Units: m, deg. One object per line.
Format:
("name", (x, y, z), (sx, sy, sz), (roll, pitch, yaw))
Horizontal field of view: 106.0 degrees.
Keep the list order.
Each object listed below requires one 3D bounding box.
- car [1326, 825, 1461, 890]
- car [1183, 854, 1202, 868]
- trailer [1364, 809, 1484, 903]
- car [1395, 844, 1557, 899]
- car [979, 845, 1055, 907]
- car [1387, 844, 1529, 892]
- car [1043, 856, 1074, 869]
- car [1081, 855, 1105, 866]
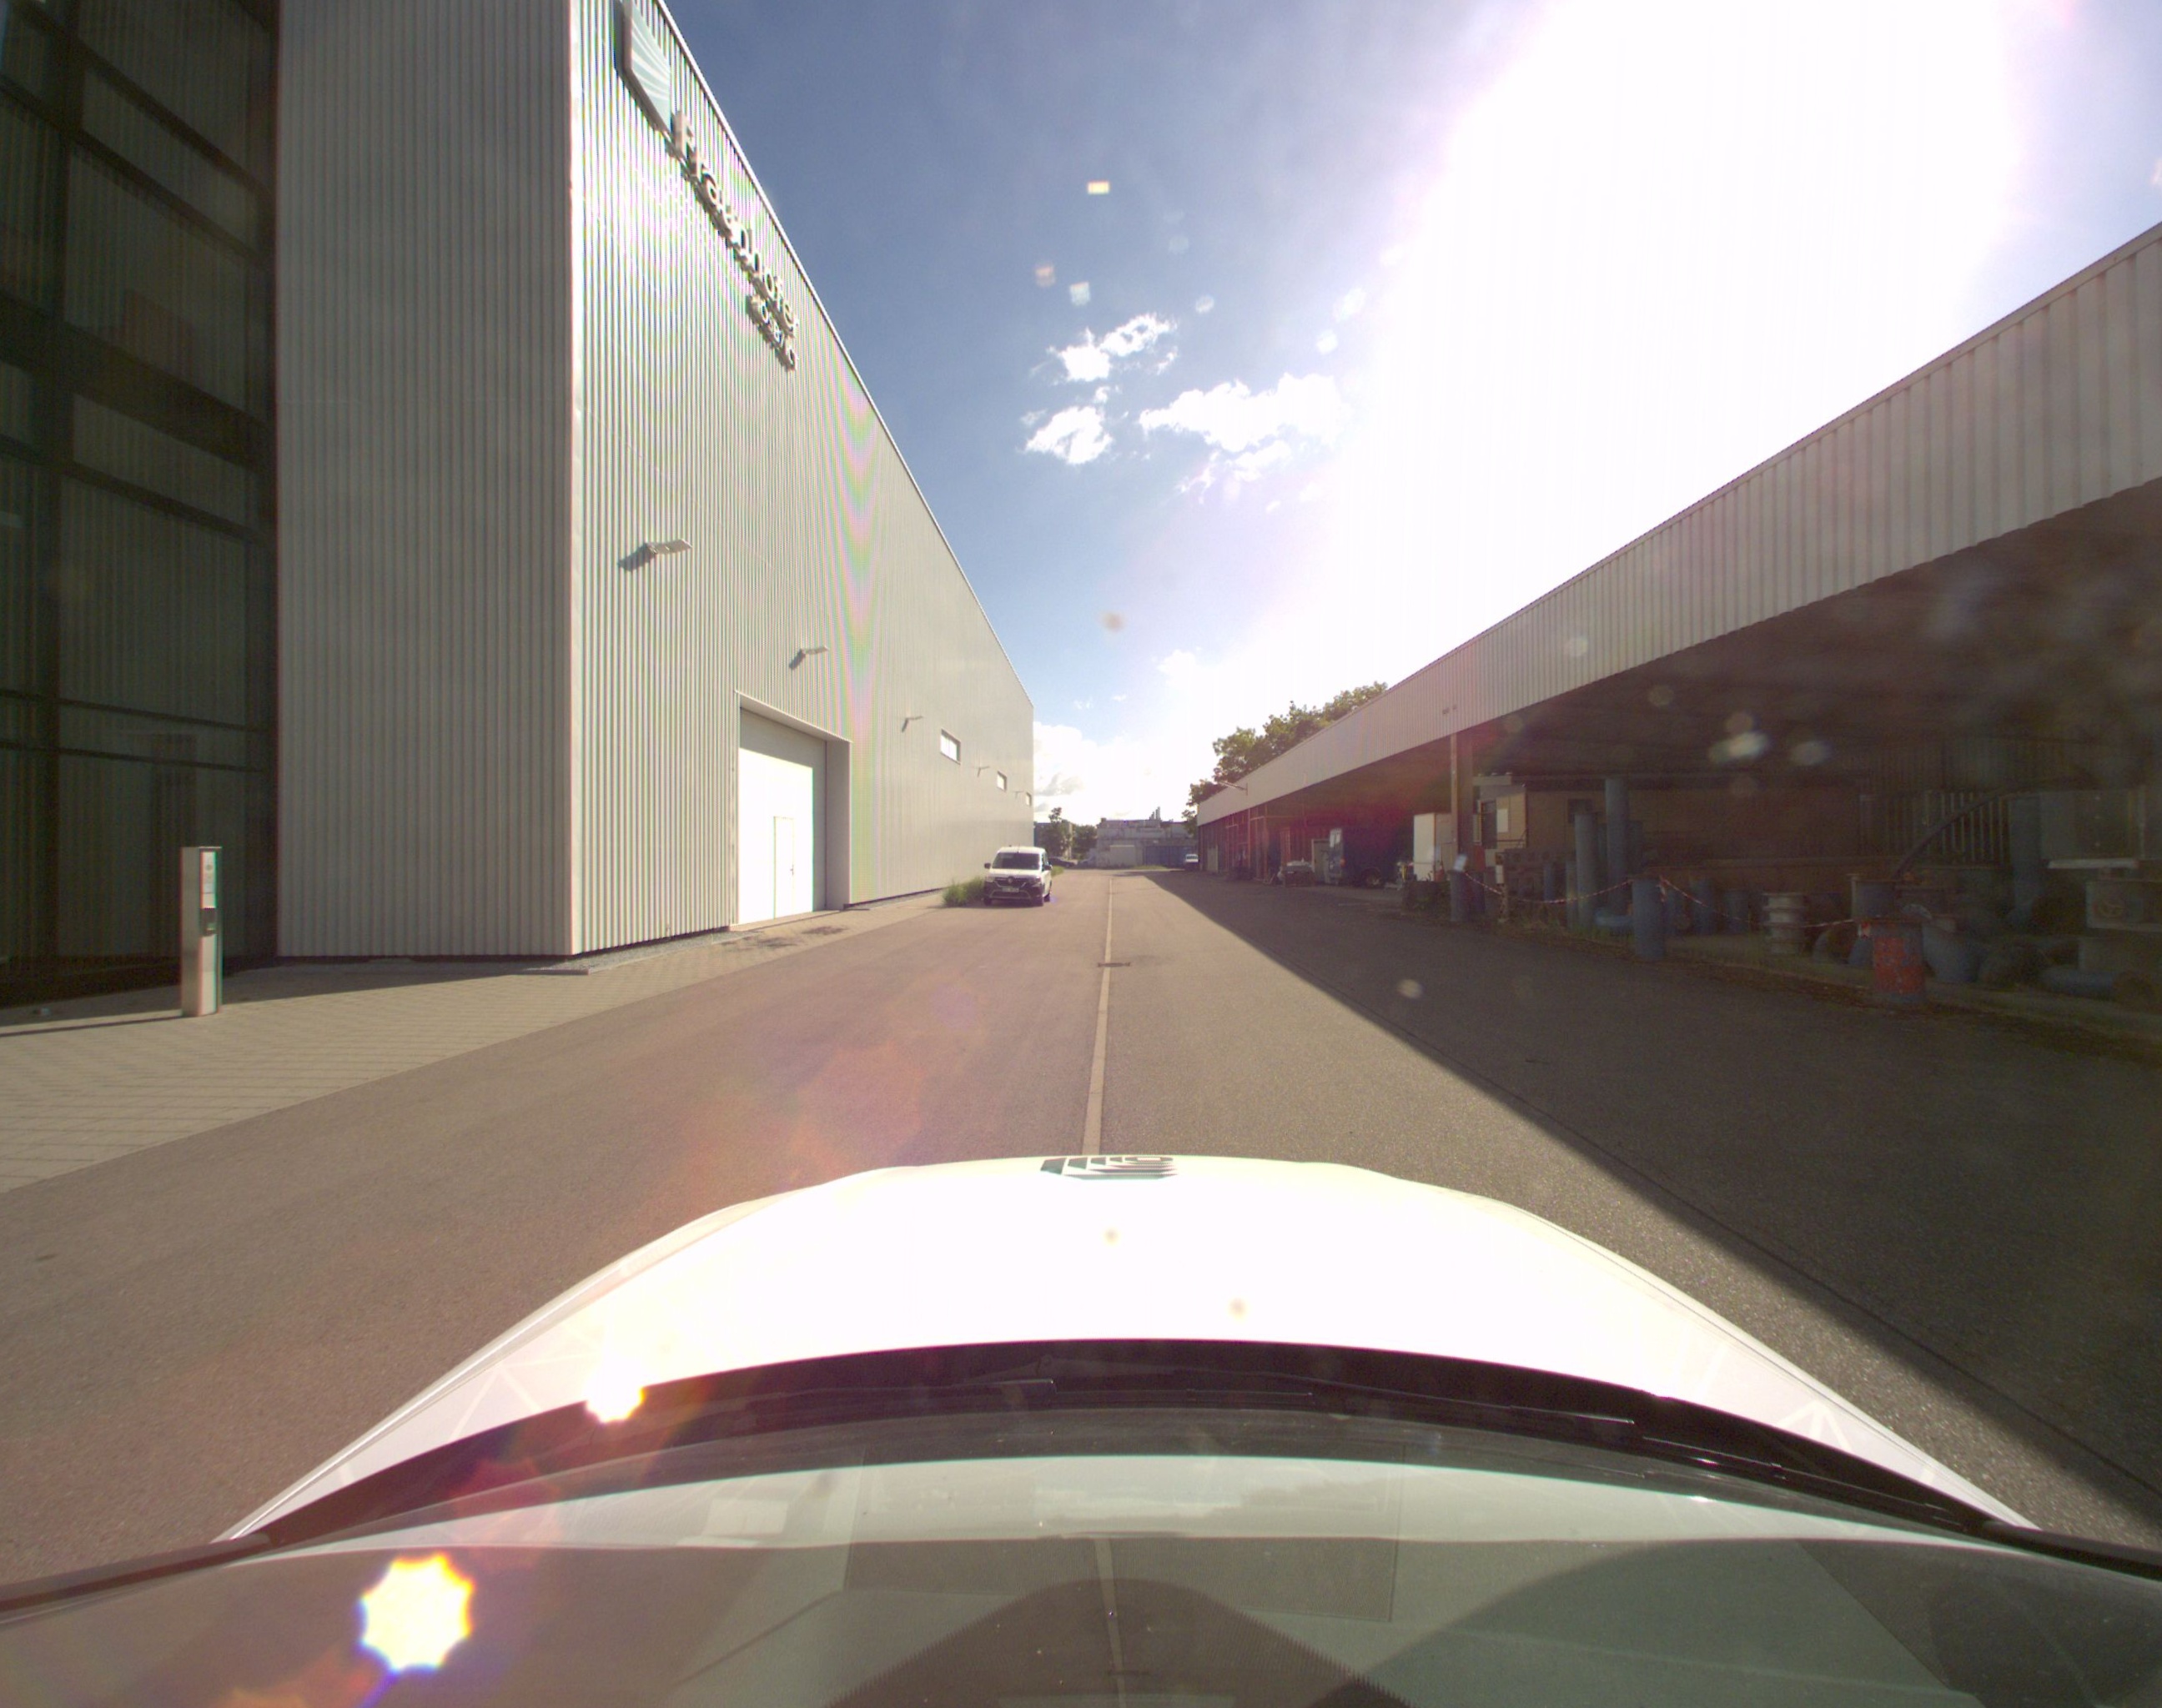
("car", (11.691, 0.165, 30.687), (4.414, 2.310, 1.916), (1, -2, 3))
("car", (12.977, 0.836, 95.178), (1.953, 1.564, 4.063), (1, 0, 4))
("trailer", (9.176, 0.061, 21.965), (2.513, 2.399, 1.728), (-1, -1, 3))
("car", (11.622, 0.530, 24.160), (4.021, 1.525, 1.685), (1, -2, 3))
("car", (-1.915, 0.631, 25.734), (1.811, 1.787, 4.408), (1, 0, 3))
("car", (12.677, 0.477, 27.558), (4.021, 1.525, 1.685), (1, -2, 3))
("car", (-2.965, 1.127, 108.051), (3.973, 1.598, 1.741), (1, -2, 0))
("car", (1.943, 1.095, 135.819), (3.973, 1.598, 1.848), (1, -2, 1))
